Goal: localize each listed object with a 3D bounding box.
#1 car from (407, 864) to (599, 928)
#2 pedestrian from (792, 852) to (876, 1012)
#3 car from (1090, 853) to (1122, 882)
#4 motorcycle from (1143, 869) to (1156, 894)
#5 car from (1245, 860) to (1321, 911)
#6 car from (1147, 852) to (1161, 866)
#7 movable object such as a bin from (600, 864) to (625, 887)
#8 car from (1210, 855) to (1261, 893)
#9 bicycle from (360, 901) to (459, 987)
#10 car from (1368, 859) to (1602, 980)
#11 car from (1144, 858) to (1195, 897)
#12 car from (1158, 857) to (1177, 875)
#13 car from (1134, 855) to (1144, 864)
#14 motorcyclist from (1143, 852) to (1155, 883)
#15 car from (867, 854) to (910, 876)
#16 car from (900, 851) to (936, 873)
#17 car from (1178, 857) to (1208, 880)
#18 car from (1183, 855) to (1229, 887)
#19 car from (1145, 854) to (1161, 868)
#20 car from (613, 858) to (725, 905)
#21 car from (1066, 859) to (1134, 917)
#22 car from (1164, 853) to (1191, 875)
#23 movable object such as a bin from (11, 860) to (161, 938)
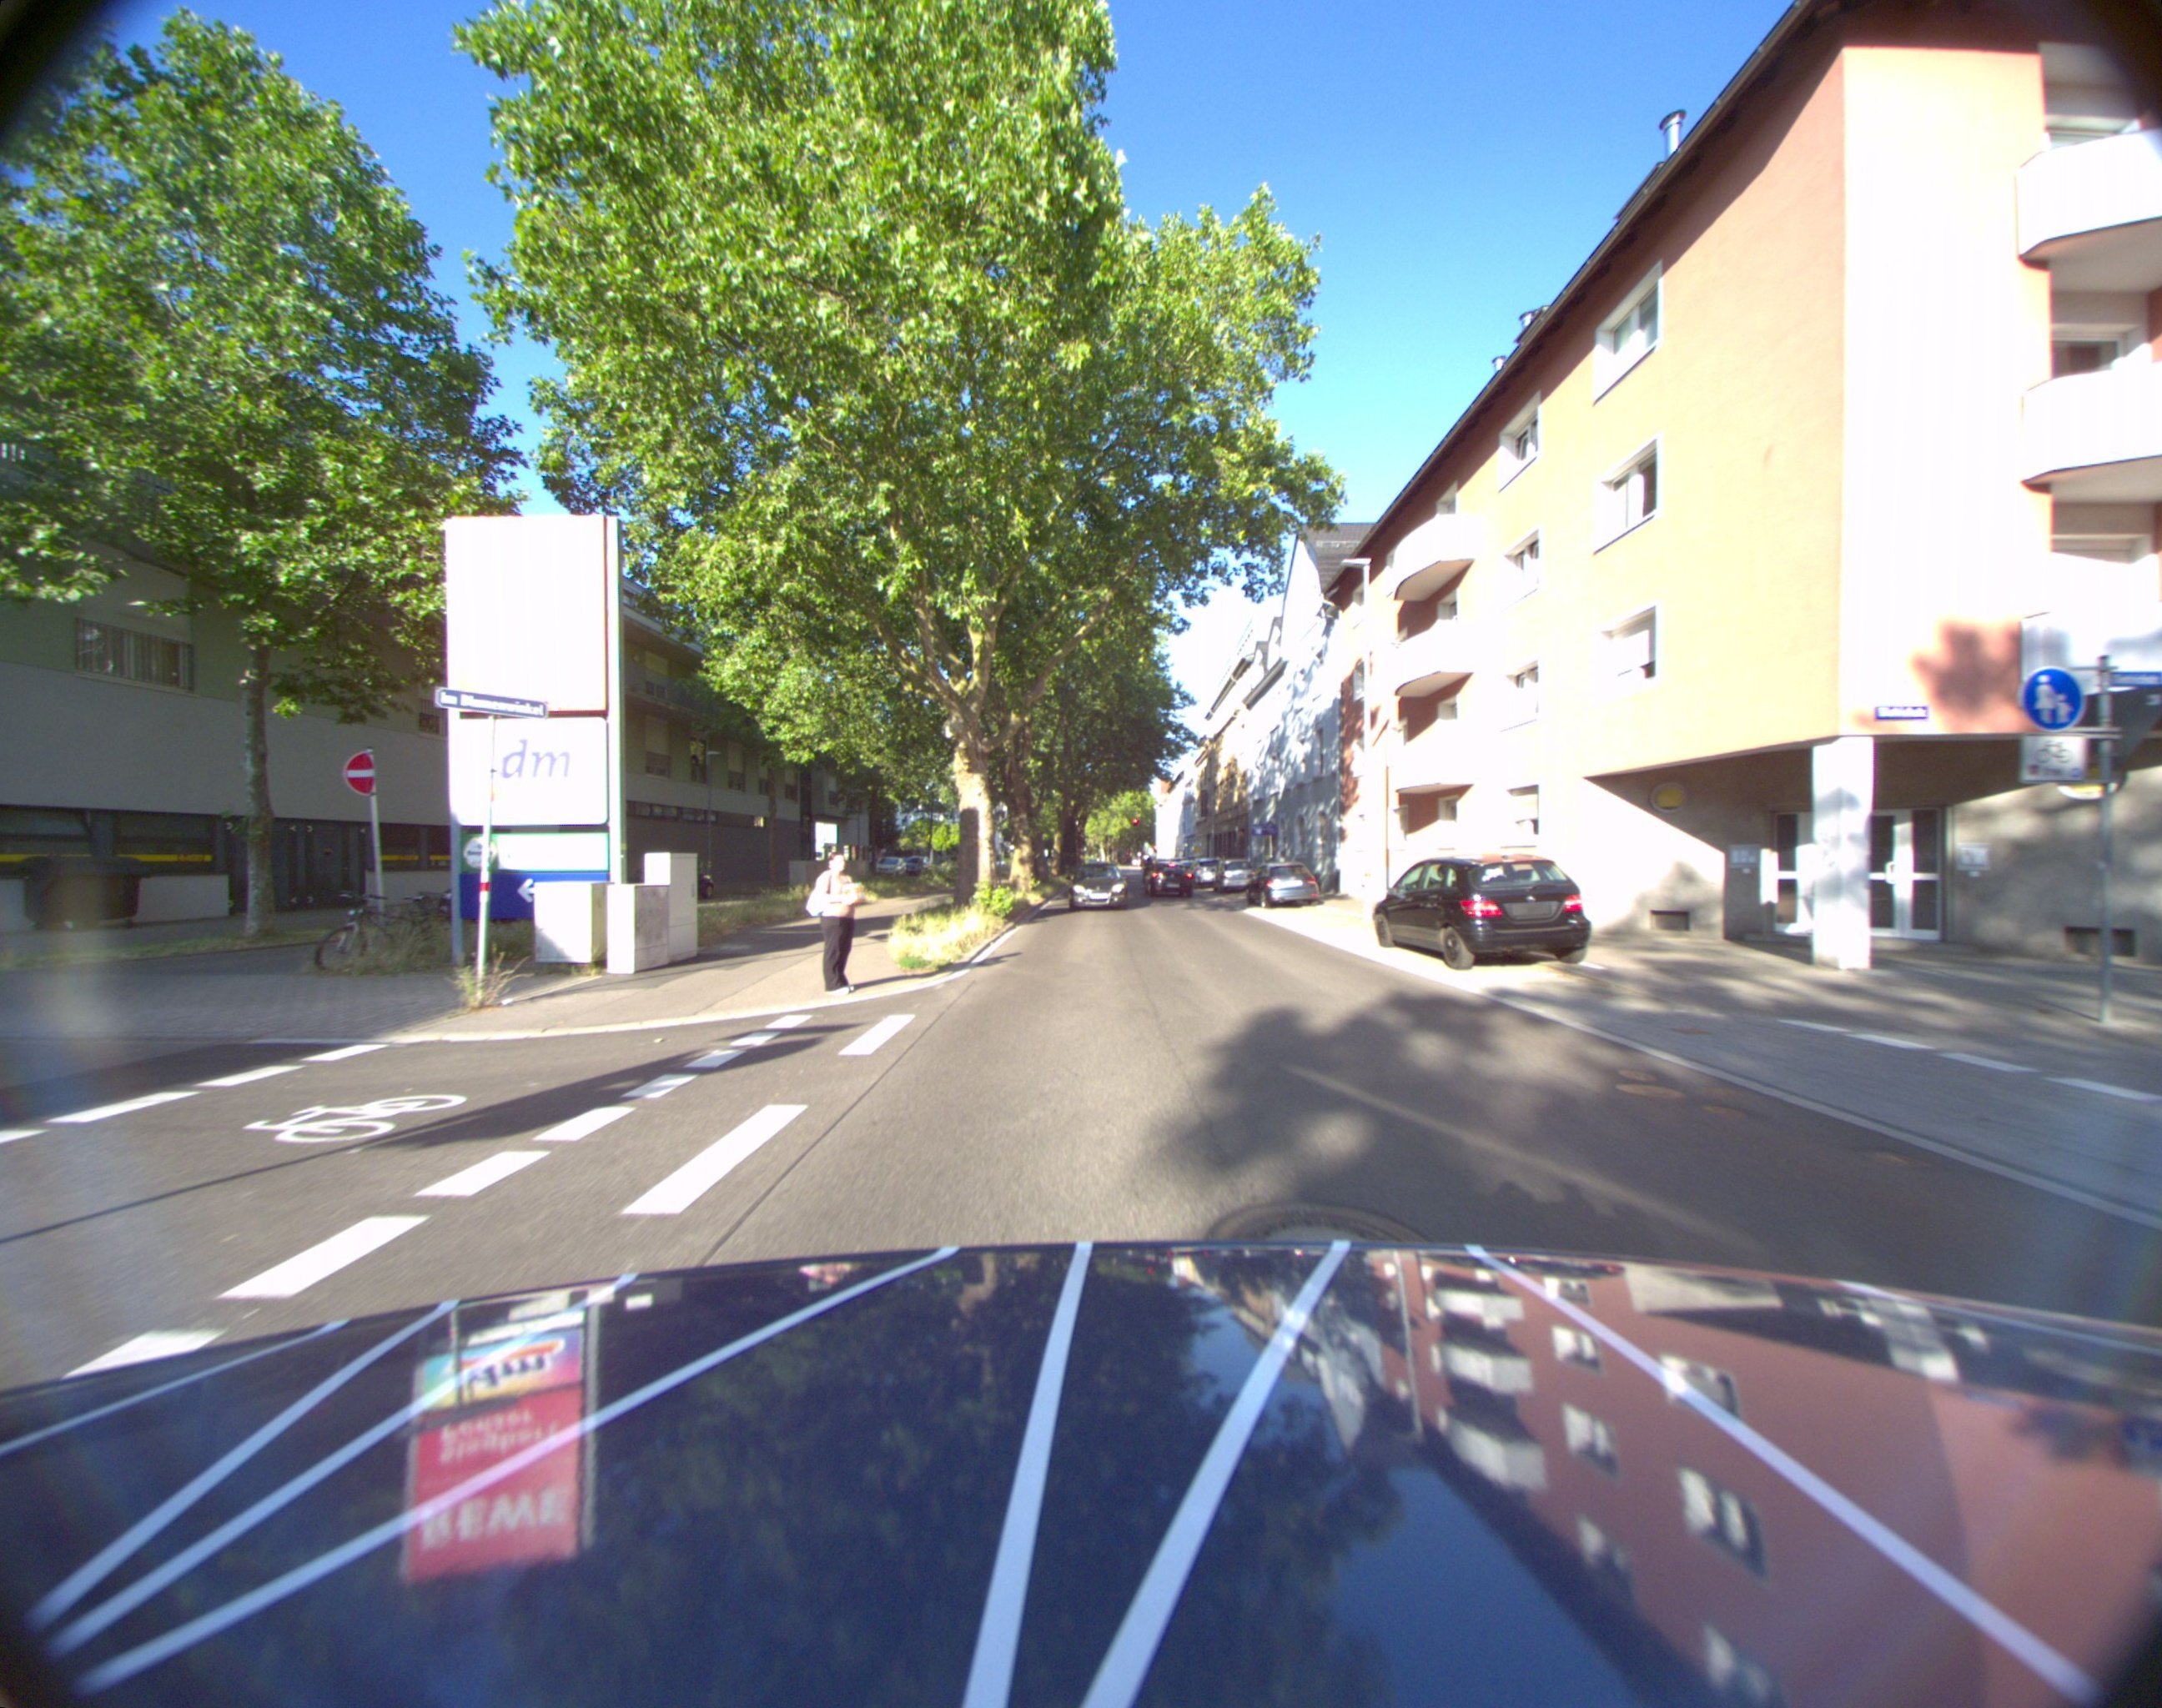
[{"bbox_3d":[-14.882,1.005,19.905,1.864,1.460,4.123,0,0,0],"label":"car"},{"bbox_3d":[-2.882,0.863,8.844,0.665,1.751,0.768,1,1,-39],"label":"pedestrian"},{"bbox_3d":[1.346,0.701,40.400,1.654,1.445,3.535,0,0,2],"label":"car"},{"bbox_3d":[3.647,1.434,40.579,0.548,1.234,2.264,2,1,1],"label":"motorcycle"},{"bbox_3d":[6.569,0.972,25.077,1.681,1.477,3.602,-2,0,3],"label":"car"},{"bbox_3d":[9.833,0.670,102.871,1.668,1.808,4.006,-2,0,4],"label":"car"},{"bbox_3d":[-19.269,0.881,31.254,0.630,0.937,0.663,1,0,2],"label":"movable object such as a bin"},{"bbox_3d":[7.139,0.899,35.481,1.682,1.632,3.985,-2,0,3],"label":"car"},{"bbox_3d":[-9.140,1.187,10.395,0.384,0.997,1.484,0,0,-15],"label":"bicycle"},{"bbox_3d":[6.042,0.879,11.958,1.681,1.515,4.021,-2,0,3],"label":"car"},{"bbox_3d":[3.730,0.959,32.512,1.775,1.470,4.322,-2,0,2],"label":"car"},{"bbox_3d":[8.253,1.152,72.918,1.681,1.595,3.706,-2,0,5],"label":"car"},{"bbox_3d":[11.617,1.055,152.008,1.897,1.782,4.001,0,0,4],"label":"car"},{"bbox_3d":[3.645,0.716,40.640,0.587,1.596,0.831,0,0,1],"label":"motorcyclist"},{"bbox_3d":[-13.800,0.781,54.760,1.863,1.534,4.320,0,0,2],"label":"car"},{"bbox_3d":[-13.347,0.643,62.571,1.909,1.760,4.320,0,0,2],"label":"car"},{"bbox_3d":[7.648,0.957,52.153,1.681,1.487,3.872,-2,0,3],"label":"car"},{"bbox_3d":[6.775,0.878,41.506,1.912,1.632,4.578,-2,0,3],"label":"car"},{"bbox_3d":[9.254,0.855,97.240,1.910,1.663,4.494,-2,0,6],"label":"car"},{"bbox_3d":[-14.655,0.922,27.289,1.863,1.543,3.760,0,0,2],"label":"car"},{"bbox_3d":[0.642,0.973,23.566,1.844,1.536,4.525,-2,0,3],"label":"car"},{"bbox_3d":[7.405,0.714,58.538,1.681,1.575,4.201,-2,0,3],"label":"car"},{"bbox_3d":[-19.548,0.844,14.975,1.195,1.454,1.409,0,0,13],"label":"movable object such as a bin"}]
